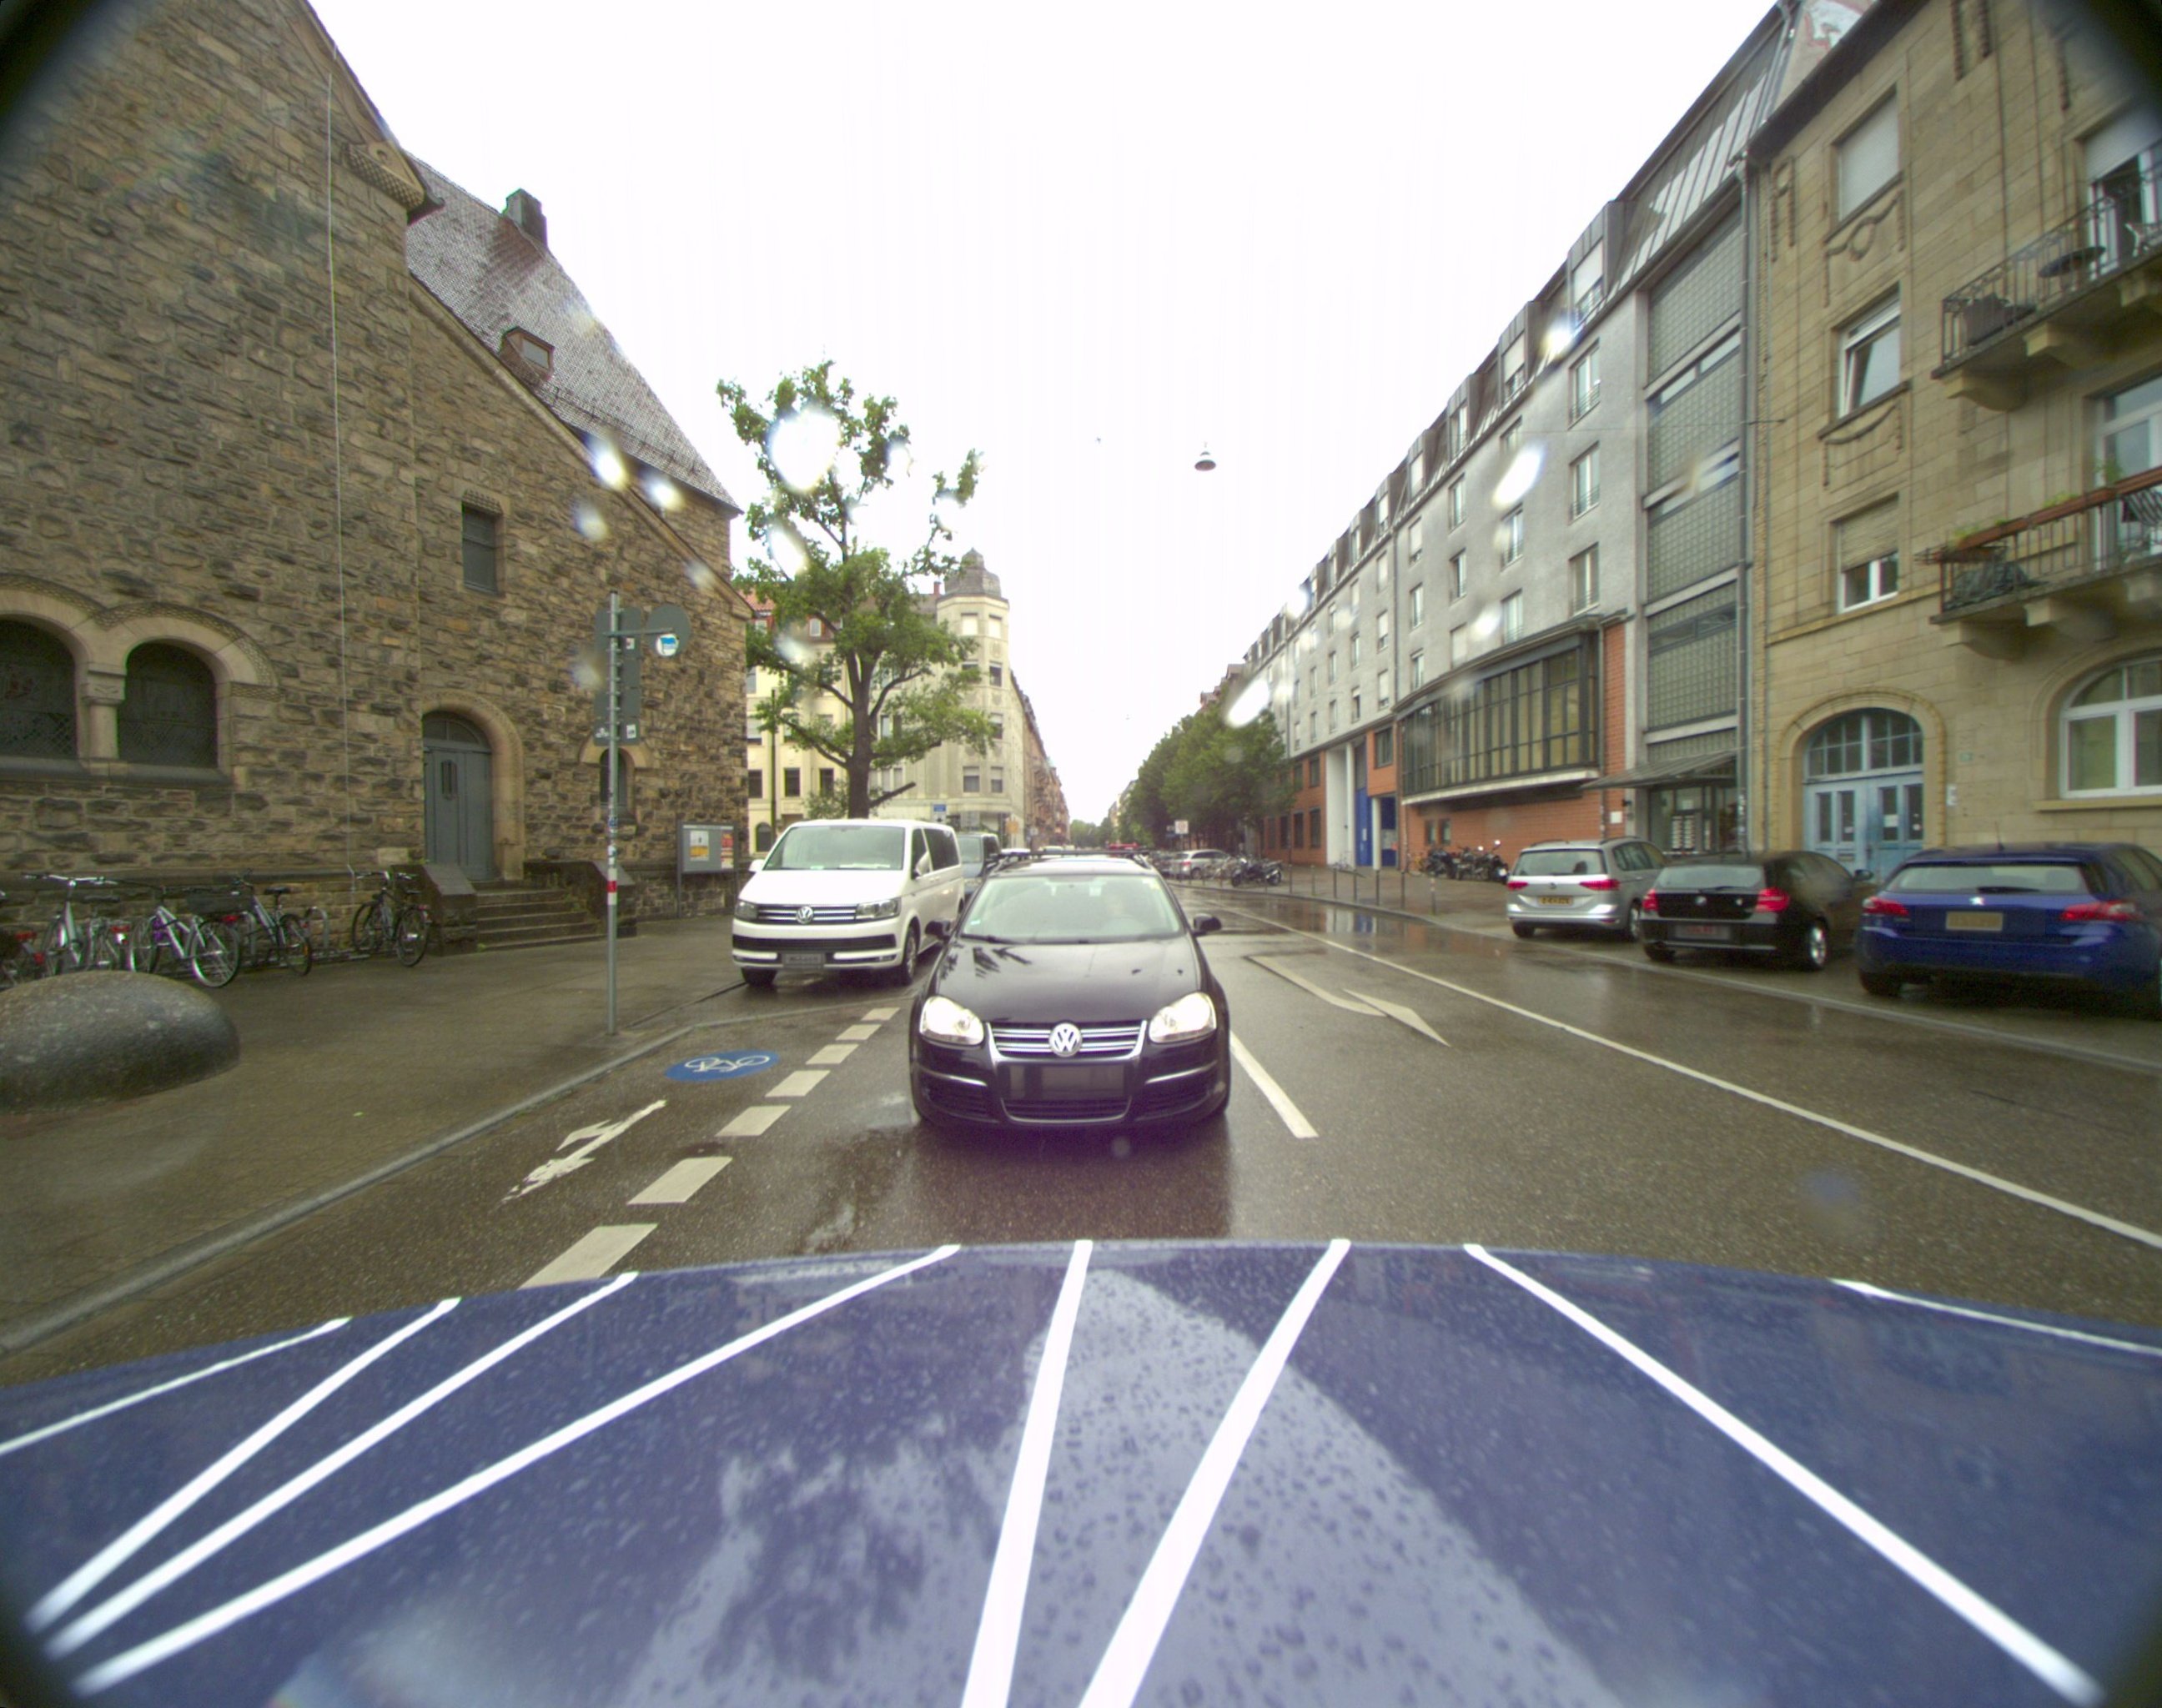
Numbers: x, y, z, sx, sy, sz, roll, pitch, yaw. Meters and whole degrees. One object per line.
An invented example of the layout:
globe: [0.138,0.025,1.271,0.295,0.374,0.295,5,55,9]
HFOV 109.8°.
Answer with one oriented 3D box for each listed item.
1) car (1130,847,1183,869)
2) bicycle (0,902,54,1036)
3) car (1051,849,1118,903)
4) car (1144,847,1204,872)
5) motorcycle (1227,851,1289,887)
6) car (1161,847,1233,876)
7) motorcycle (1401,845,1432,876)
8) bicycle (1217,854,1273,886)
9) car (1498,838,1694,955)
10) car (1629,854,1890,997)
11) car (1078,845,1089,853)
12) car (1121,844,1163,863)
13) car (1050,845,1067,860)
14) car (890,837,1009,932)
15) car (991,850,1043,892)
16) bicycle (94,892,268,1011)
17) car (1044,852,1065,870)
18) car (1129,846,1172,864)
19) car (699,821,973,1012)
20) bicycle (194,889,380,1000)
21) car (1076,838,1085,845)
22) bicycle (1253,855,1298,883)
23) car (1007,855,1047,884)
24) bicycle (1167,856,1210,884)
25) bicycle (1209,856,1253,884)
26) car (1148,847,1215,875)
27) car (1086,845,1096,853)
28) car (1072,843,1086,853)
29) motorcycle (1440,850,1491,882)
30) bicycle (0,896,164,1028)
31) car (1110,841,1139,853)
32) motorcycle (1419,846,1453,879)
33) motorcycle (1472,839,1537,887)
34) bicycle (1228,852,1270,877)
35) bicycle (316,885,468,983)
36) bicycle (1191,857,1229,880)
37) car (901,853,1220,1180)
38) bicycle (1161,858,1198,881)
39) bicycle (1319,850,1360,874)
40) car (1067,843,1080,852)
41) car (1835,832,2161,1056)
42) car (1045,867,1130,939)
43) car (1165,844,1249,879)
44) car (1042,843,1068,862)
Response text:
car: [6.048,0.287,60.924,3.803,1.705,1.998,0,1,-10]
bicycle: [-9.782,0.961,6.531,1.924,1.054,0.582,0,1,20]
car: [0.128,0.577,21.989,1.766,1.430,3.748,0,1,1]
car: [6.503,0.347,53.616,3.803,1.705,1.998,0,1,-10]
motorcycle: [7.010,0.586,30.139,2.255,1.302,0.758,-2,1,1]
car: [6.827,0.413,44.951,3.803,1.705,1.998,0,1,-10]
motorcycle: [13.592,0.264,30.845,0.546,1.221,1.676,0,1,1]
bicycle: [6.705,0.636,31.110,2.049,1.165,0.773,-3,1,-2]
car: [8.975,0.605,13.132,3.931,1.720,1.811,-1,1,-41]
car: [9.037,0.780,10.053,3.734,1.519,1.713,-1,1,-34]
car: [0.460,-1.025,161.428,1.998,1.705,4.376,0,1,5]
car: [6.549,-0.085,81.297,4.006,2.002,1.995,0,1,-28]
car: [-1.925,-0.177,66.420,1.356,1.285,3.013,0,1,1]
car: [-2.741,0.576,16.810,1.837,1.835,4.295,0,1,1]
car: [-2.443,0.605,29.844,1.674,1.540,3.918,0,1,1]
bicycle: [-9.313,0.959,7.853,1.923,1.054,0.582,0,1,22]
car: [-1.911,0.495,55.219,1.356,1.285,3.013,0,1,1]
car: [6.633,0.091,72.864,3.803,1.705,1.904,0,1,-10]
car: [-2.816,0.600,10.222,1.909,1.911,5.272,0,1,1]
bicycle: [-8.866,0.954,8.476,2.150,1.054,0.679,0,1,22]
car: [-0.051,-2.982,184.439,1.837,1.827,4.001,0,1,5]
bicycle: [8.168,0.610,31.945,1.688,1.067,0.544,-3,1,-2]
car: [-2.484,0.690,35.825,1.558,1.285,3.662,0,1,1]
bicycle: [4.749,0.710,33.595,1.687,1.067,0.544,-6,1,-2]
bicycle: [6.308,0.679,32.074,1.688,1.067,0.544,-3,1,-2]
car: [6.329,0.410,48.029,3.803,1.705,1.998,0,1,-10]
car: [2.231,-1.123,176.171,1.998,1.705,4.376,0,1,5]
car: [-0.344,-0.983,125.921,1.998,1.705,3.803,0,1,5]
motorcycle: [13.559,0.403,26.868,0.599,1.095,2.362,0,1,1]
bicycle: [-9.561,0.968,7.183,1.923,1.054,0.582,0,1,22]
car: [6.248,-0.981,109.050,3.809,1.705,1.995,-1,1,-33]
motorcycle: [13.560,0.296,29.080,0.546,1.221,1.676,0,1,1]
motorcycle: [13.468,0.272,24.238,0.777,1.455,2.362,0,1,1]
bicycle: [7.245,0.449,32.826,1.688,1.067,0.544,0,1,-2]
bicycle: [-8.514,0.950,9.378,1.978,1.060,0.607,0,1,23]
bicycle: [6.098,0.673,35.839,1.688,1.067,0.544,-1,1,-2]
car: [-0.072,0.792,5.729,1.547,1.553,4.070,0,1,1]
bicycle: [4.775,0.756,36.797,1.688,1.067,0.544,2,1,-2]
bicycle: [13.494,0.383,39.690,1.901,1.217,0.938,0,1,26]
car: [-1.339,-1.193,139.987,1.998,1.705,3.803,0,1,5]
car: [9.336,0.649,7.414,3.732,1.519,1.897,-4,3,-30]
car: [0.140,0.922,15.706,1.547,1.214,3.607,0,1,1]
car: [6.664,0.361,40.235,4.005,1.804,1.995,0,1,-26]
car: [-2.081,-0.144,62.357,1.921,1.470,4.220,0,1,1]
